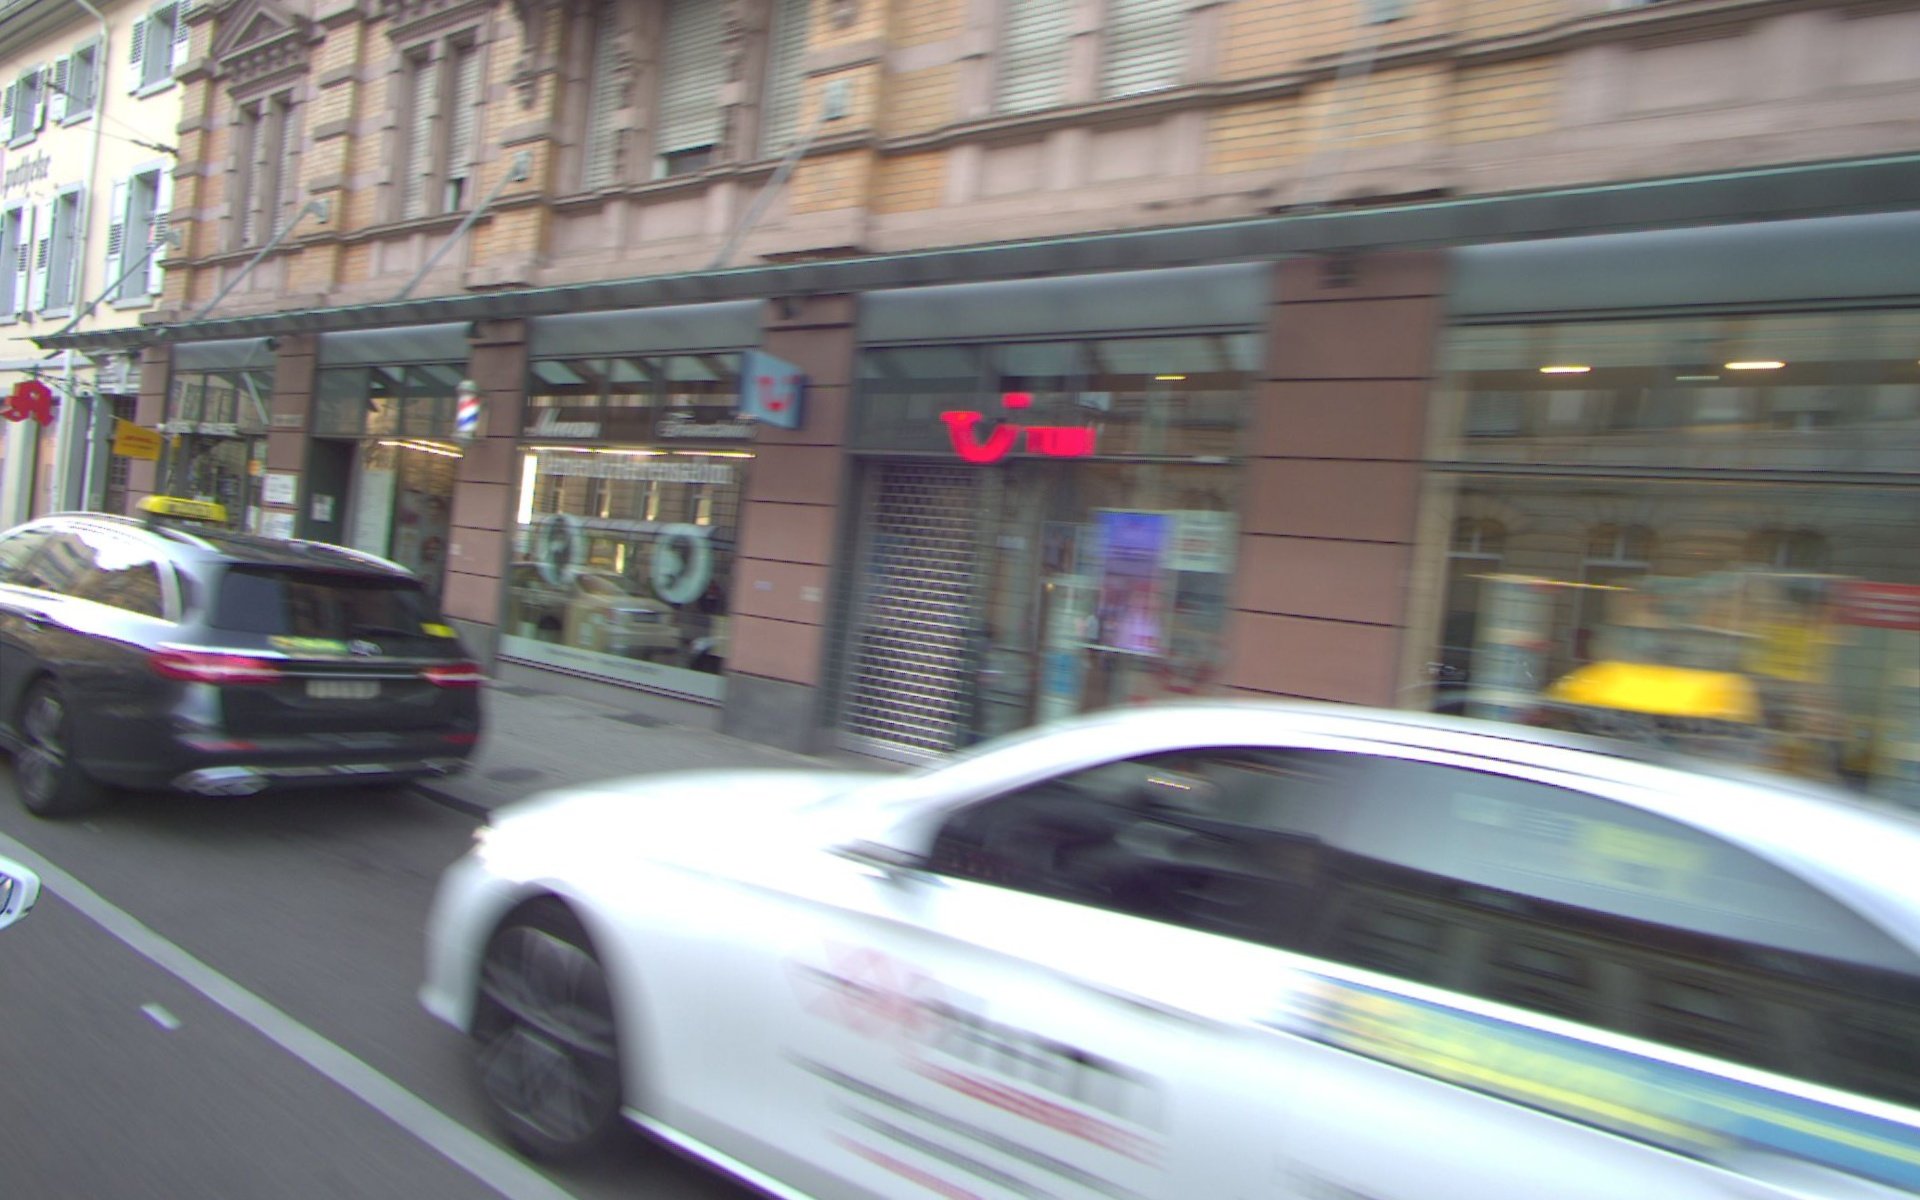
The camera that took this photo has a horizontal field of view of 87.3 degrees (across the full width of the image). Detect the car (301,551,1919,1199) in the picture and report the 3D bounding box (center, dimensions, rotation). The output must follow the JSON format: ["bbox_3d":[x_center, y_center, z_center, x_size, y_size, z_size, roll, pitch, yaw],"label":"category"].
[{"bbox_3d":[0.576,0.927,2.561,4.784,1.528,1.737,6,-3,31],"label":"car"}]

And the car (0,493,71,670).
[{"bbox_3d":[-10.516,-0.462,9.454,4.698,1.500,1.810,7,-2,31],"label":"car"}]

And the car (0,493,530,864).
[{"bbox_3d":[-4.985,0.234,6.200,4.740,1.494,1.730,6,-2,31],"label":"car"}]
